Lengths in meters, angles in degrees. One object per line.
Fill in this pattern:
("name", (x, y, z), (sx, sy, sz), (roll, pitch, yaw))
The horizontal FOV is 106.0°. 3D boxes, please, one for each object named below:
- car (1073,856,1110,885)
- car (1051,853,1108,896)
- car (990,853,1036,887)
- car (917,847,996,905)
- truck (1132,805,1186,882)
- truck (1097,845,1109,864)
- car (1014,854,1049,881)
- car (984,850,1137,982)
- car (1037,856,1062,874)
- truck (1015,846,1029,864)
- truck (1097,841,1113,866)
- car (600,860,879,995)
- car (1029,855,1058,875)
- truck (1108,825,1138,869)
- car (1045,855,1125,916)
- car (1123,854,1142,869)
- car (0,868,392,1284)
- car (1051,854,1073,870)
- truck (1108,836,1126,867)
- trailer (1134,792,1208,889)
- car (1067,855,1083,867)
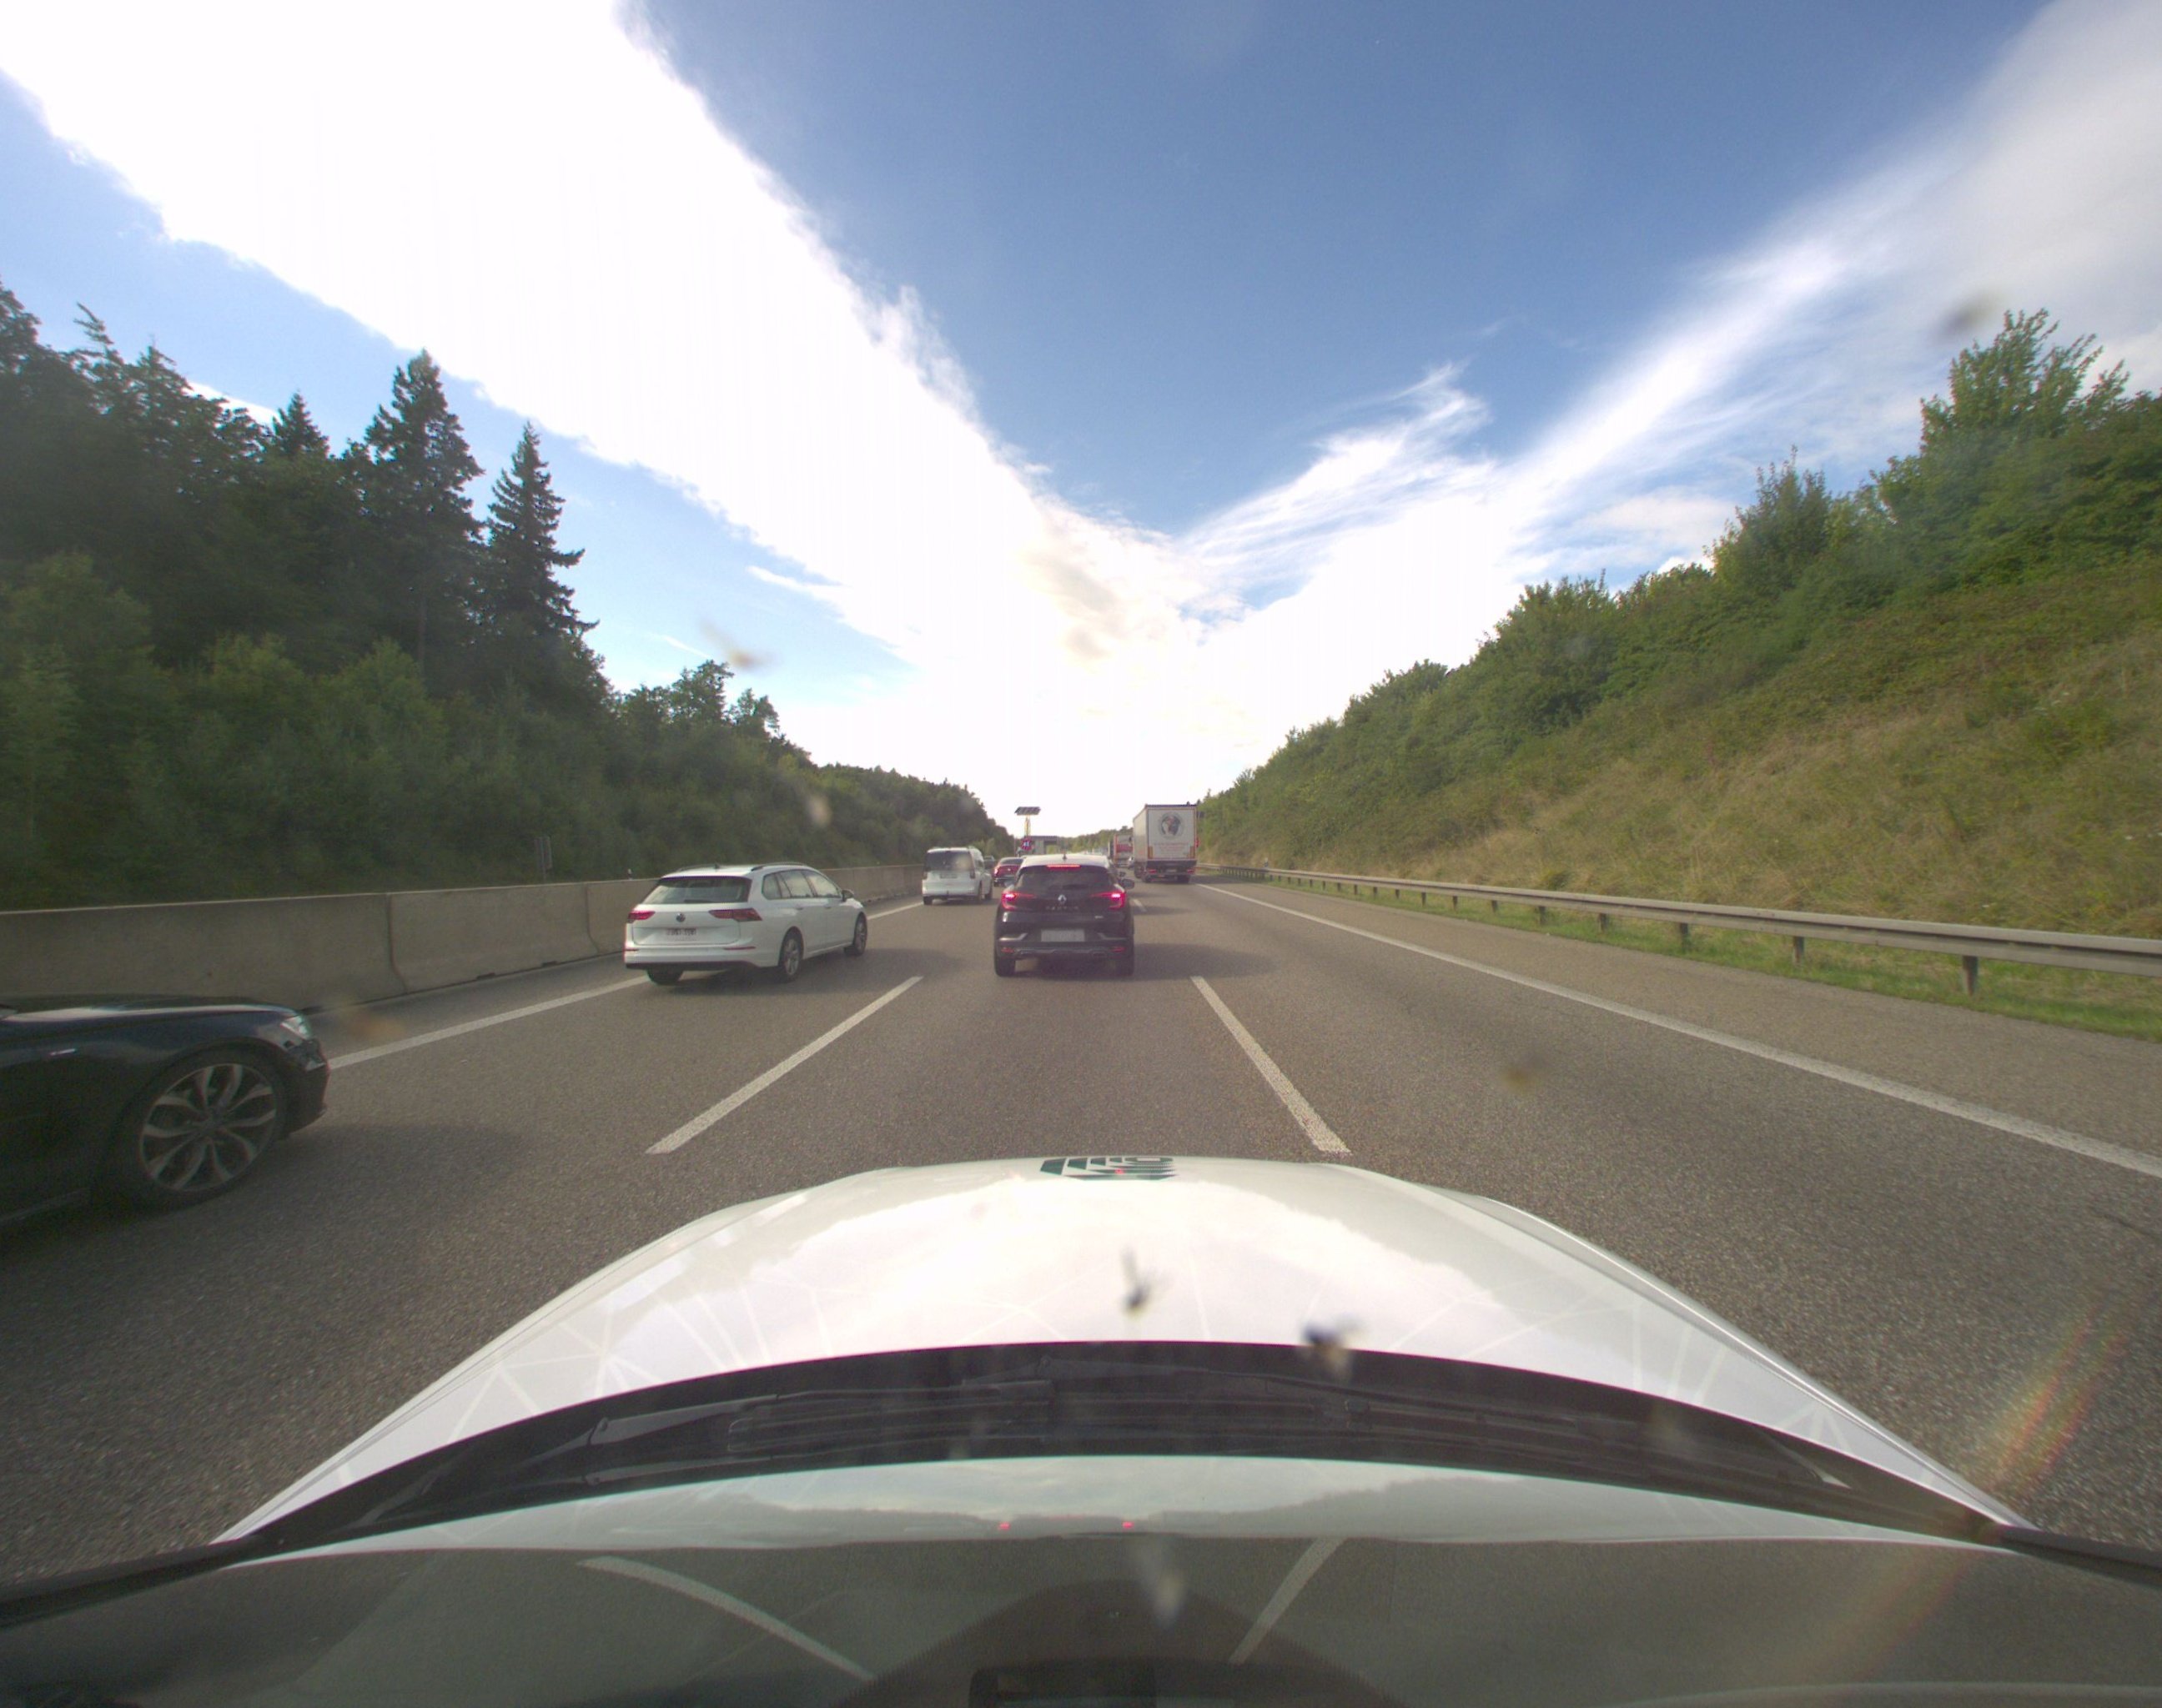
("car", (0.648, 0.894, 45.653), (1.986, 1.514, 4.002), (-1, -1, 2))
("car", (0.008, 0.751, 31.007), (1.986, 1.514, 4.002), (-1, -1, 2))
("car", (-3.448, 0.799, 41.905), (1.848, 1.641, 3.928), (-1, -1, 2))
("car", (-4.045, 0.695, 27.141), (1.905, 1.789, 4.417), (0, -1, 1))
("truck", (4.918, -0.655, 52.604), (2.986, 4.667, 5.940), (-1, 0, 1))
("truck", (6.269, 0.245, 227.115), (3.154, 5.159, 12.744), (-1, -1, 2))
("car", (-3.270, 0.885, 54.775), (1.986, 1.722, 4.002), (-1, -1, 2))
("car", (-0.112, 0.752, 11.722), (1.797, 1.552, 4.004), (-1, 0, 4))
("car", (-2.835, 0.975, 73.891), (1.986, 1.613, 4.002), (-1, -1, 2))
("truck", (-17.249, 0.186, 238.985), (2.880, 5.093, 10.083), (-1, 0, 1))
("truck", (5.781, -0.035, 192.452), (3.153, 5.505, 12.749), (-1, -1, 4))
("car", (-4.287, 0.826, 11.085), (1.797, 1.461, 4.311), (-1, -1, 3))
("car", (-3.017, 0.900, 66.357), (1.986, 1.613, 4.002), (-1, -1, 2))
("truck", (5.127, -0.770, 100.199), (3.351, 5.044, 12.744), (-1, -1, 2))
("car", (0.172, 0.800, 22.139), (1.986, 1.514, 4.002), (-1, -1, 2))
("car", (5.323, 0.766, 84.393), (1.798, 1.533, 3.925), (0, -1, 1))
("car", (-4.802, 0.813, 2.133), (1.836, 1.456, 4.750), (0, 0, 2))
("car", (-1.973, 0.820, 86.059), (1.986, 1.613, 4.002), (-1, 0, 2))
("truck", (6.602, -0.460, 151.428), (3.154, 5.505, 12.744), (-1, -1, 2))
("trailer", (4.760, -0.653, 45.885), (2.991, 4.661, 13.293), (-1, 0, 1))
("car", (-0.808, 0.947, 108.906), (1.986, 1.613, 4.002), (-1, 0, 2))
